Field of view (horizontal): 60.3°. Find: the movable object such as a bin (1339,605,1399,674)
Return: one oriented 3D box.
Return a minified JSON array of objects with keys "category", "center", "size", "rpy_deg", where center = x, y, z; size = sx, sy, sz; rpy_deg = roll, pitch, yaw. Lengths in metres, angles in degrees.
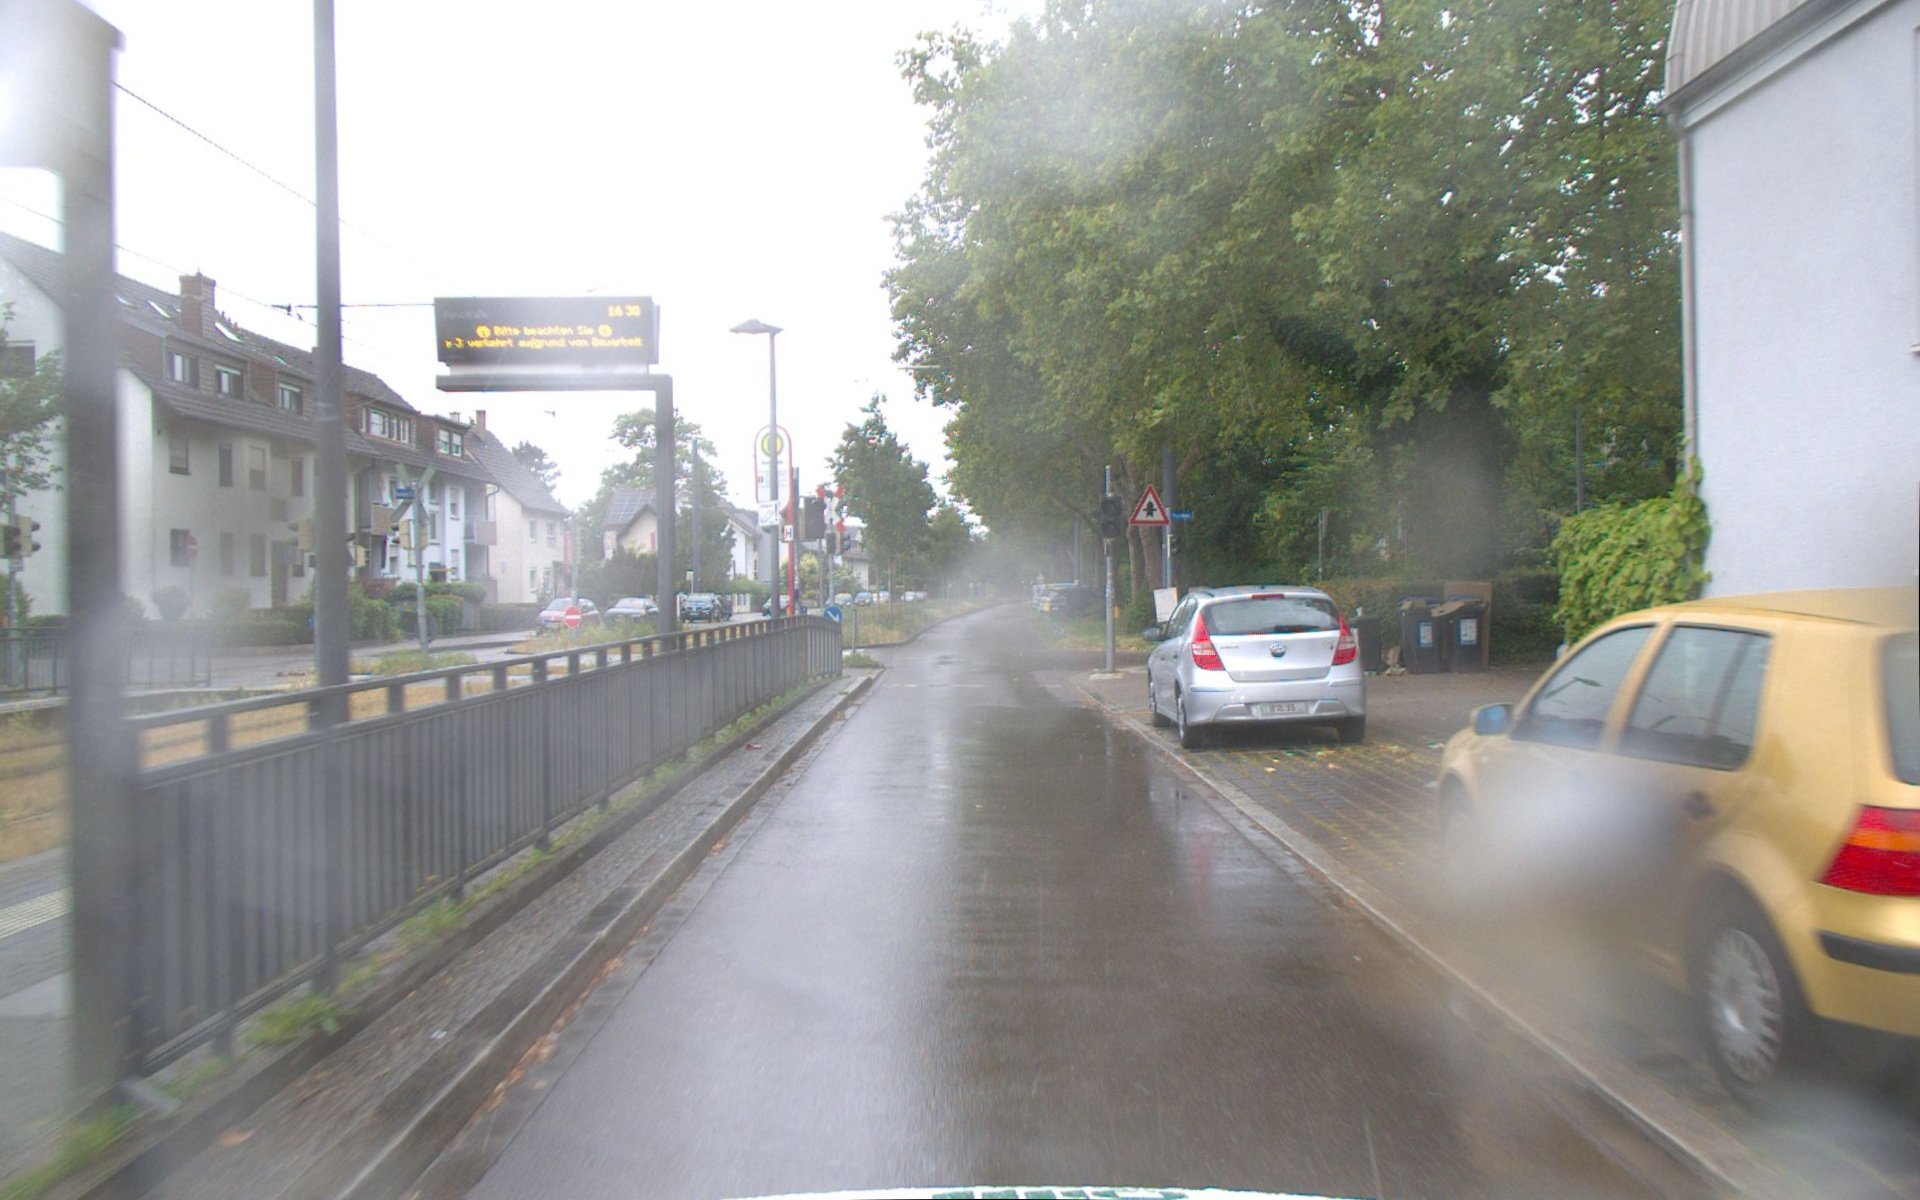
[{"category":"movable object such as a bin","center":[6.524,0.623,26.410],"size":[0.678,1.039,0.824],"rpy_deg":[-3,0,-1]}]

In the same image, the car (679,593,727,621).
[{"category":"car","center":[-14.464,0.416,93.143],"size":[1.888,1.512,4.001],"rpy_deg":[0,-1,3]}]

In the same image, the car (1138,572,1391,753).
[{"category":"car","center":[2.932,0.579,16.721],"size":[1.770,1.493,3.793],"rpy_deg":[-4,-1,0]}]

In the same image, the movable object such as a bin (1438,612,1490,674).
[{"category":"movable object such as a bin","center":[7.786,0.662,25.554],"size":[0.525,0.914,0.738],"rpy_deg":[-3,0,-1]}]

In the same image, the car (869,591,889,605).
[{"category":"car","center":[-9.242,-0.201,188.368],"size":[1.888,1.512,4.001],"rpy_deg":[0,-1,3]}]

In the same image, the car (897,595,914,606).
[{"category":"car","center":[-7.192,0.088,218.357],"size":[1.888,1.512,4.001],"rpy_deg":[0,-1,3]}]

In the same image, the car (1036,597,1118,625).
[{"category":"car","center":[6.225,0.593,88.160],"size":[3.920,1.478,1.992],"rpy_deg":[0,-1,-15]}]

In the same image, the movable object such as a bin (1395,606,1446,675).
[{"category":"movable object such as a bin","center":[7.182,0.623,25.791],"size":[0.525,1.039,0.738],"rpy_deg":[-3,0,-1]}]

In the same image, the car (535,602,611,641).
[{"category":"car","center":[-15.190,0.842,65.105],"size":[1.888,1.512,4.001],"rpy_deg":[0,-1,3]}]

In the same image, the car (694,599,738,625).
[{"category":"car","center":[-14.633,0.705,99.503],"size":[1.888,1.512,4.001],"rpy_deg":[0,-1,3]}]

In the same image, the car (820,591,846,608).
[{"category":"car","center":[-11.818,-0.026,154.189],"size":[1.888,1.512,4.001],"rpy_deg":[0,-1,3]}]

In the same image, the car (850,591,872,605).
[{"category":"car","center":[-10.502,-0.225,176.192],"size":[1.888,1.512,4.001],"rpy_deg":[0,-1,3]}]

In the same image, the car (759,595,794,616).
[{"category":"car","center":[-13.270,0.426,119.609],"size":[1.888,1.512,4.001],"rpy_deg":[0,-1,3]}]

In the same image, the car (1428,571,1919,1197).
[{"category":"car","center":[3.101,0.649,5.780],"size":[1.770,1.430,3.793],"rpy_deg":[-4,-1,0]}]

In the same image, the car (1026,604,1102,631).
[{"category":"car","center":[5.871,0.975,93.509],"size":[3.920,1.478,1.992],"rpy_deg":[0,-1,-15]}]

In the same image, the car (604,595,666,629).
[{"category":"car","center":[-14.893,0.568,76.029],"size":[1.888,1.512,4.001],"rpy_deg":[0,-1,3]}]

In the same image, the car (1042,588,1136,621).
[{"category":"car","center":[5.908,0.207,76.074],"size":[3.920,1.478,1.992],"rpy_deg":[0,-1,-15]}]
